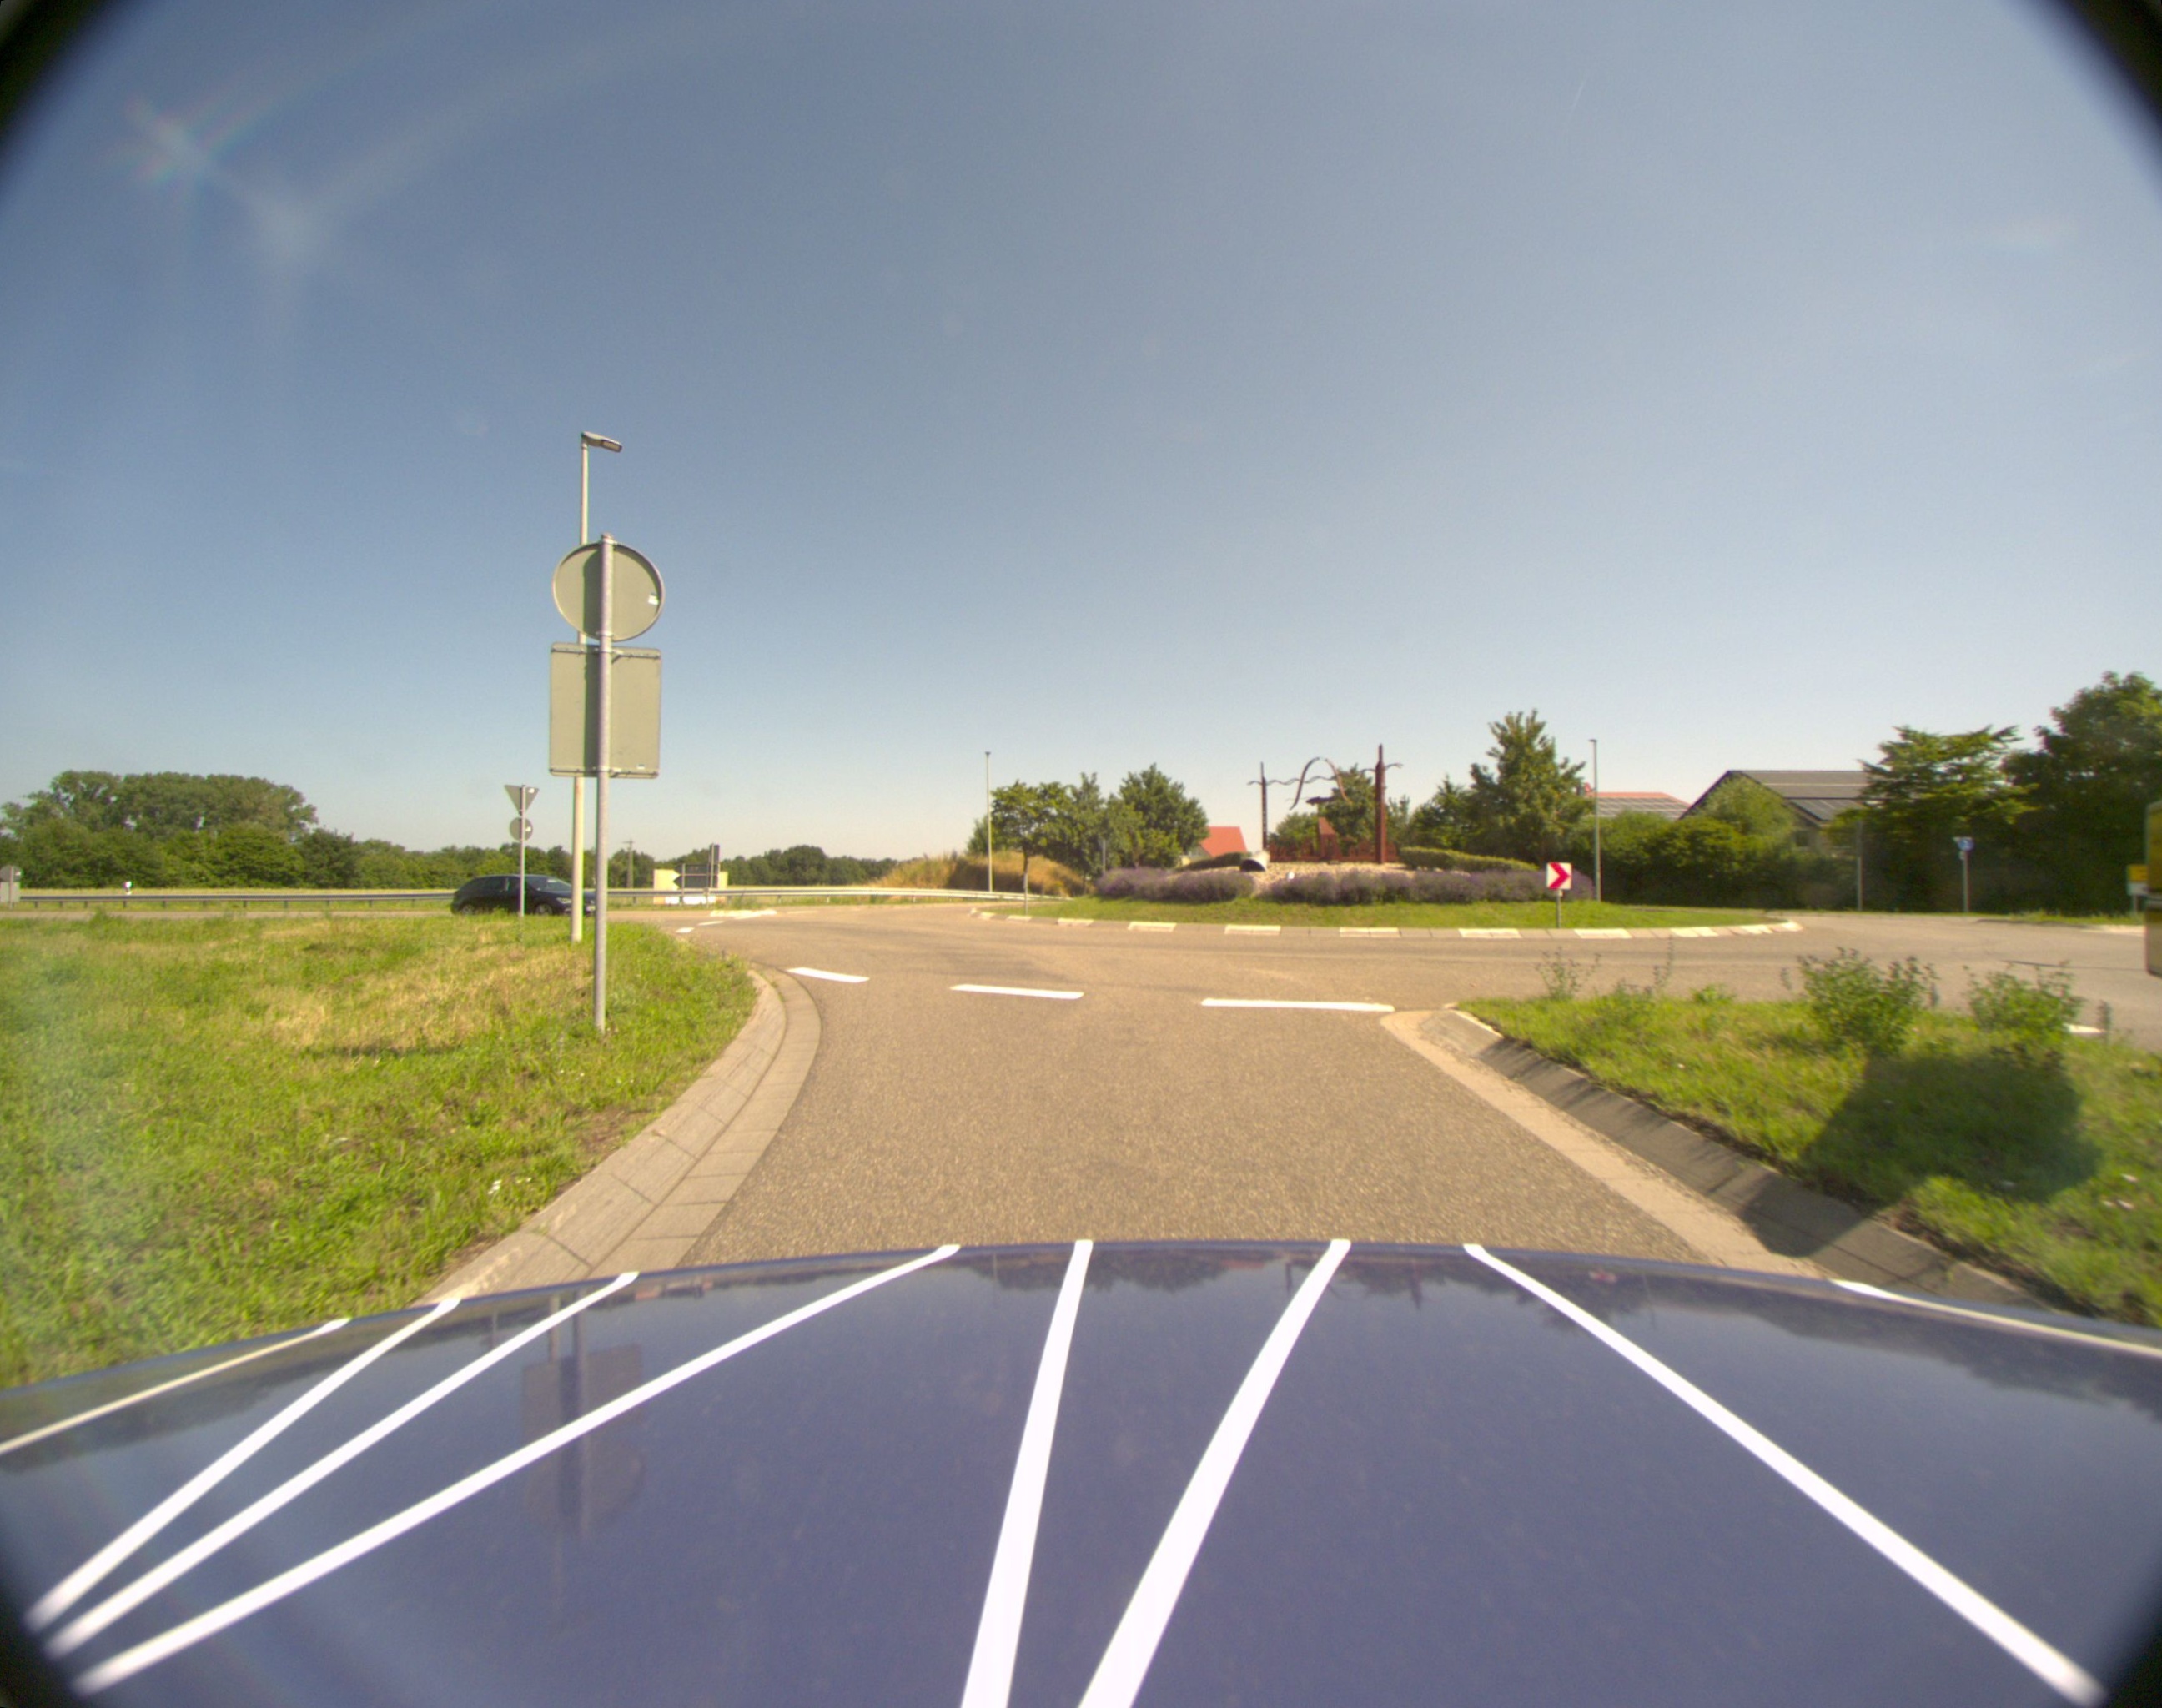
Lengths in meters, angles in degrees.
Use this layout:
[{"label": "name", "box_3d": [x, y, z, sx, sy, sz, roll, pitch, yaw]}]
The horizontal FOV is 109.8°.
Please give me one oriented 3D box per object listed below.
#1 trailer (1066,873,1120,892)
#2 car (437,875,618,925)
[{"label": "trailer", "box_3d": [1.394, 3.644, 99.511, 2.003, 2.264, 10.468, 0, -1, -30]}, {"label": "car", "box_3d": [-16.246, 1.331, 22.409, 4.174, 1.390, 1.809, 0, 0, 7]}]
